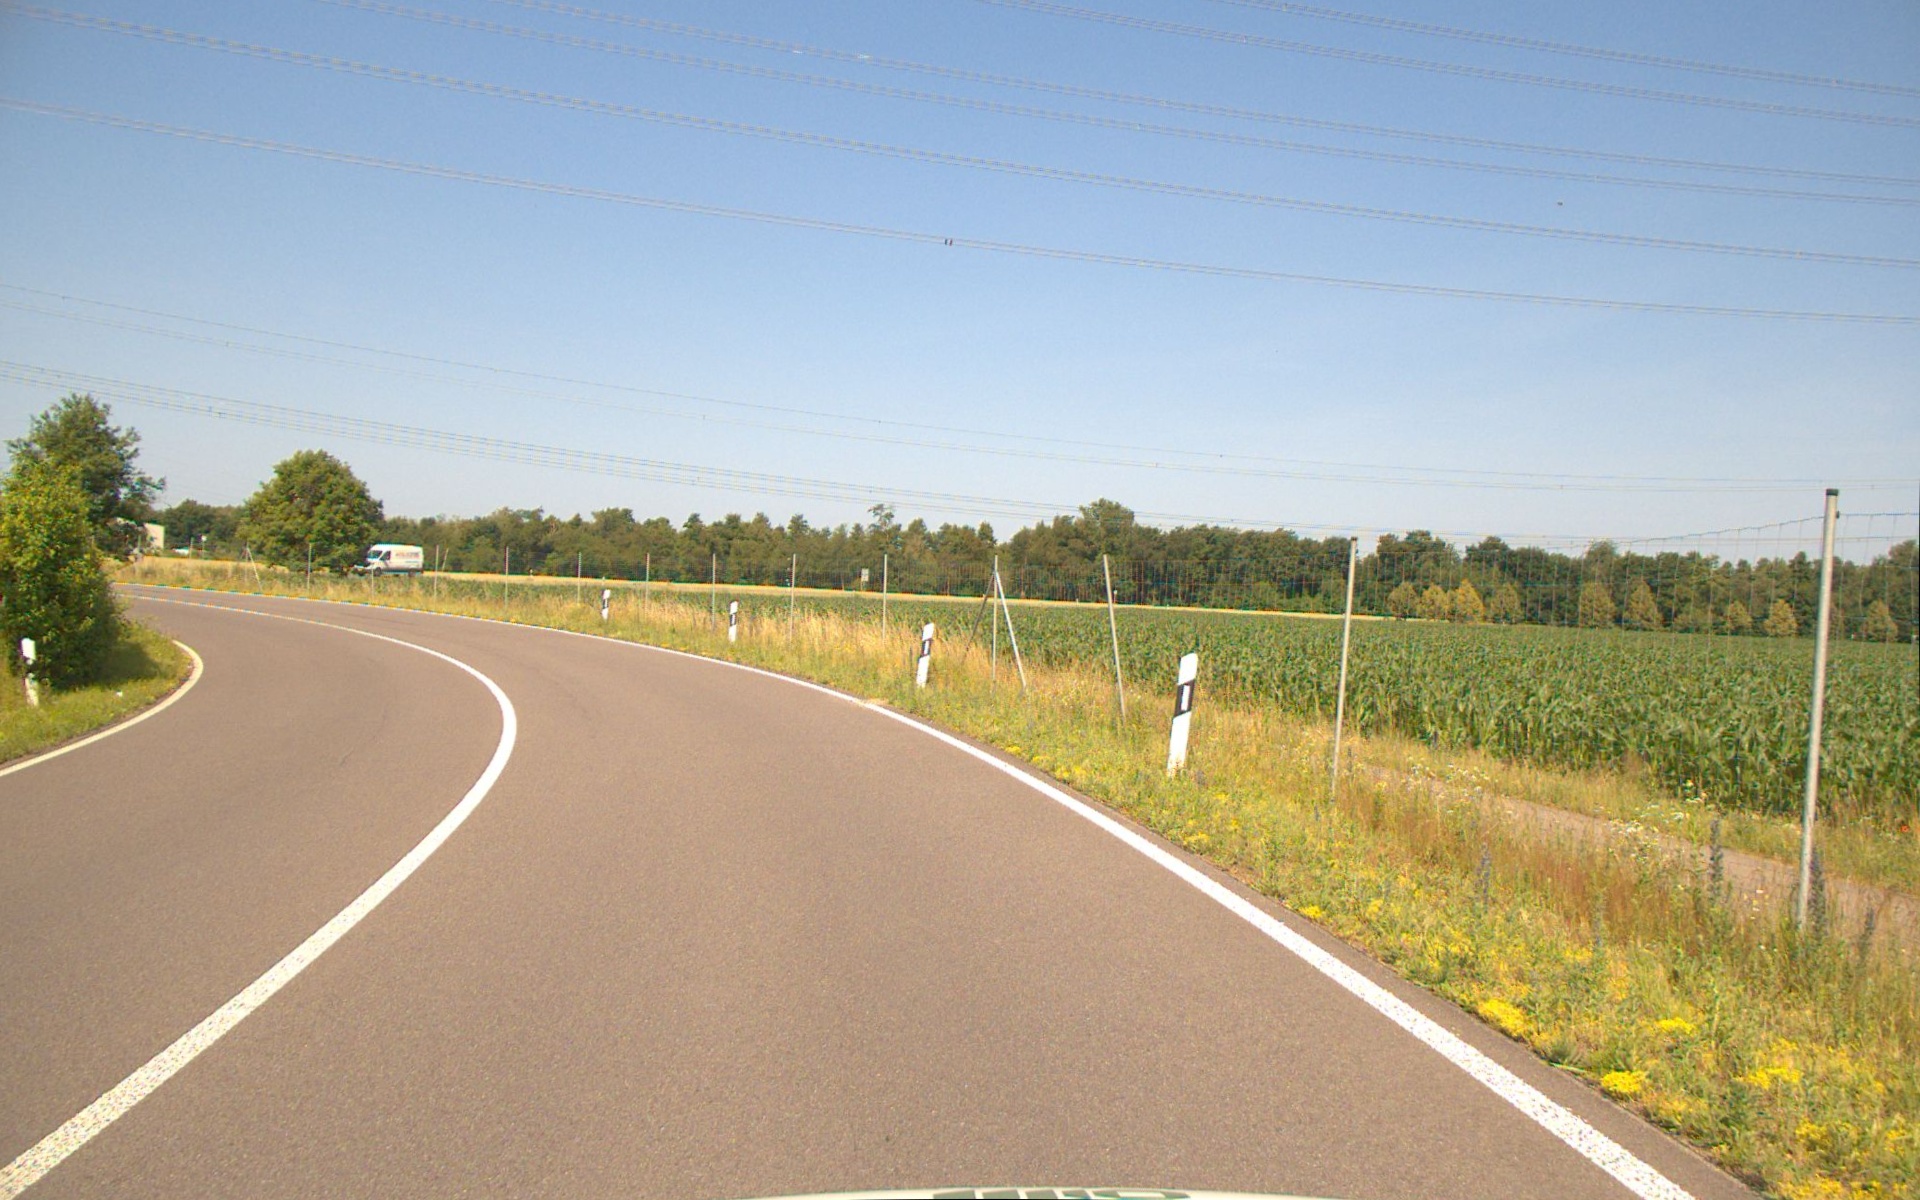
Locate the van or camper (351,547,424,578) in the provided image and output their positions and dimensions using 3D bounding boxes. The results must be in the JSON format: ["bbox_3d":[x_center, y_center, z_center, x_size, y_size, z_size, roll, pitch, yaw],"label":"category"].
[{"bbox_3d":[-46.114,-3.000,133.348,1.955,2.306,5.761,2,0,28],"label":"van or camper"}]
